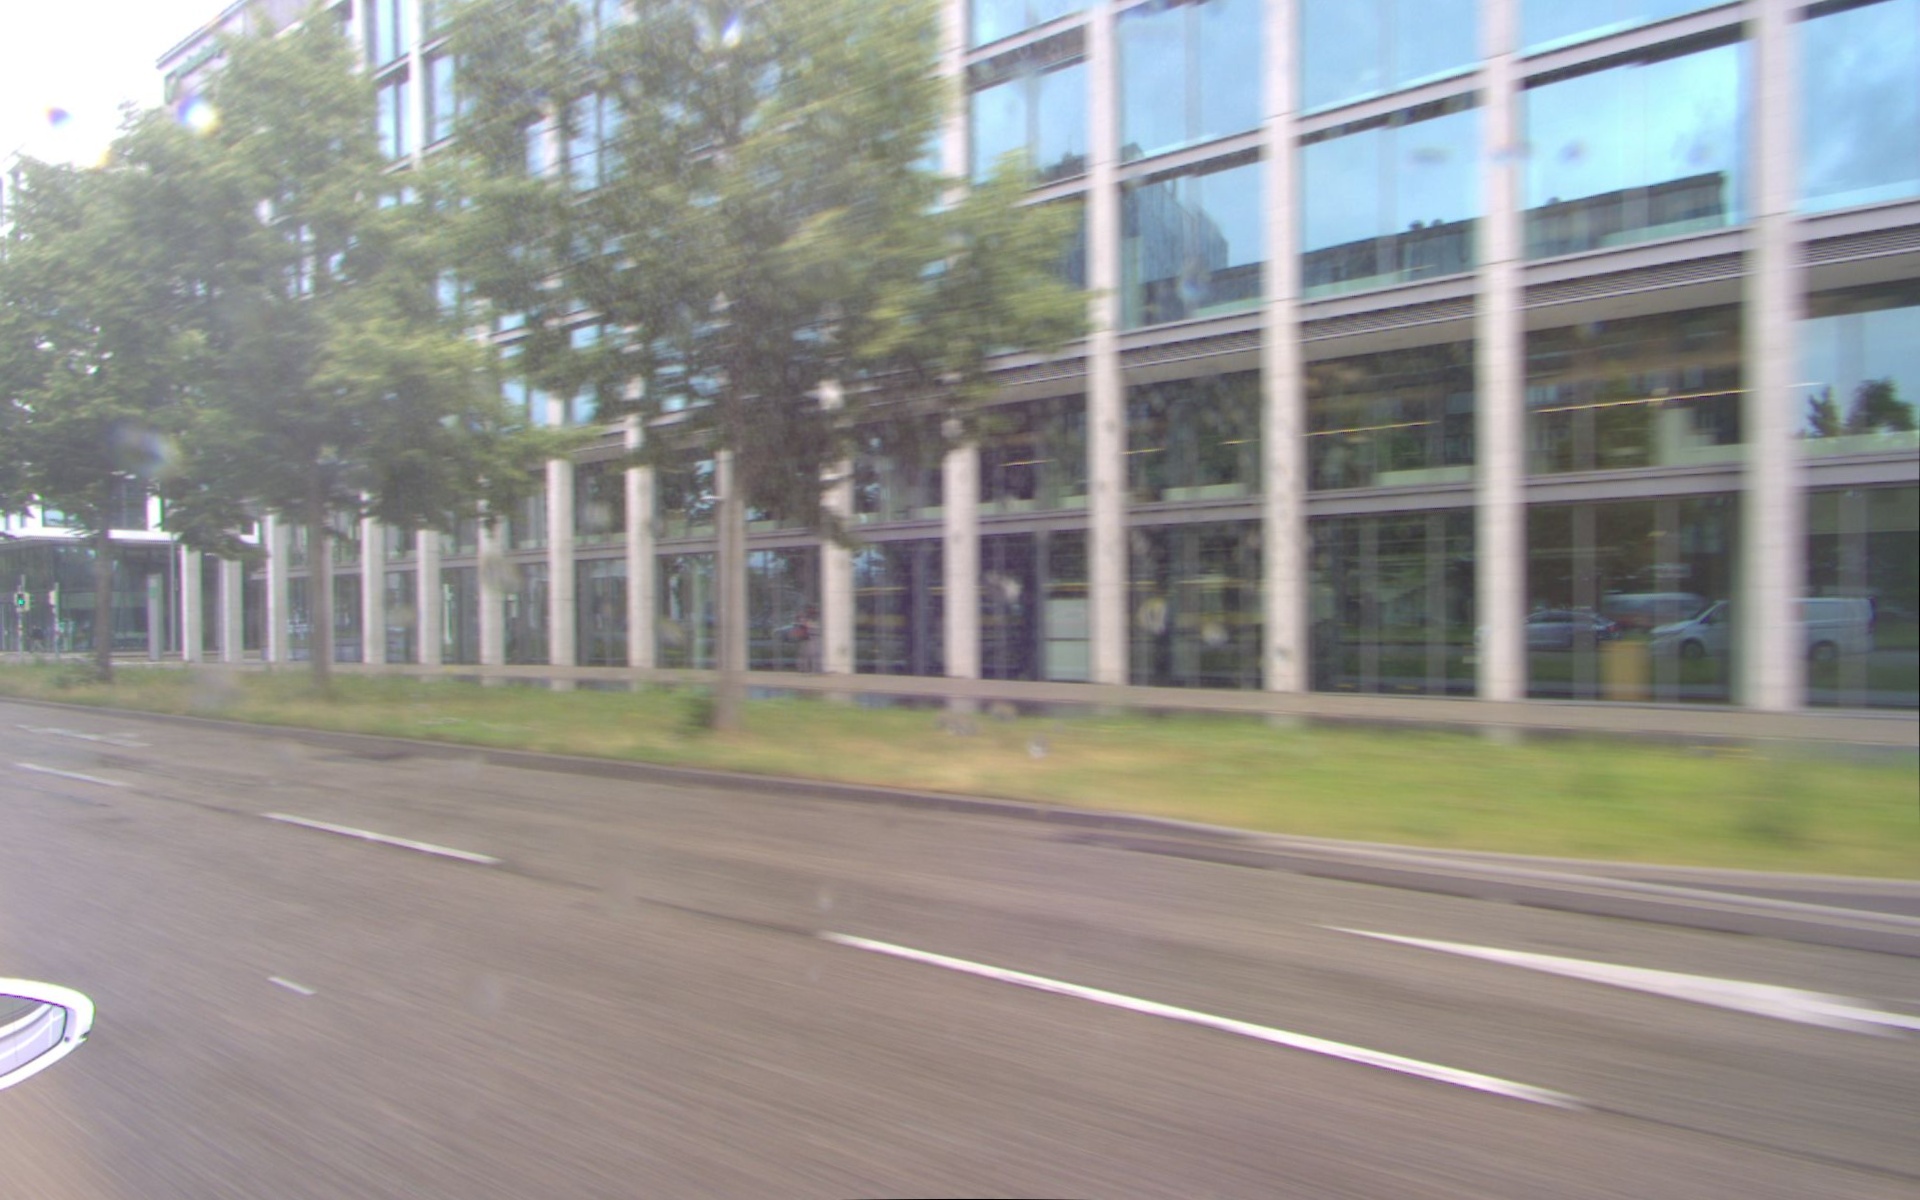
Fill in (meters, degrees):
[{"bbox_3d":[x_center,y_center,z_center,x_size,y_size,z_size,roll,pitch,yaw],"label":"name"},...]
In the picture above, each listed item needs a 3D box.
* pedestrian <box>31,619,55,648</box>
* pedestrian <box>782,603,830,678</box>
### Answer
[{"bbox_3d":[-54.834,2.024,59.870,0.769,1.729,0.679,0,-1,-7],"label":"pedestrian"},{"bbox_3d":[-3.714,0.965,24.178,0.849,1.738,0.715,0,1,31],"label":"pedestrian"}]
